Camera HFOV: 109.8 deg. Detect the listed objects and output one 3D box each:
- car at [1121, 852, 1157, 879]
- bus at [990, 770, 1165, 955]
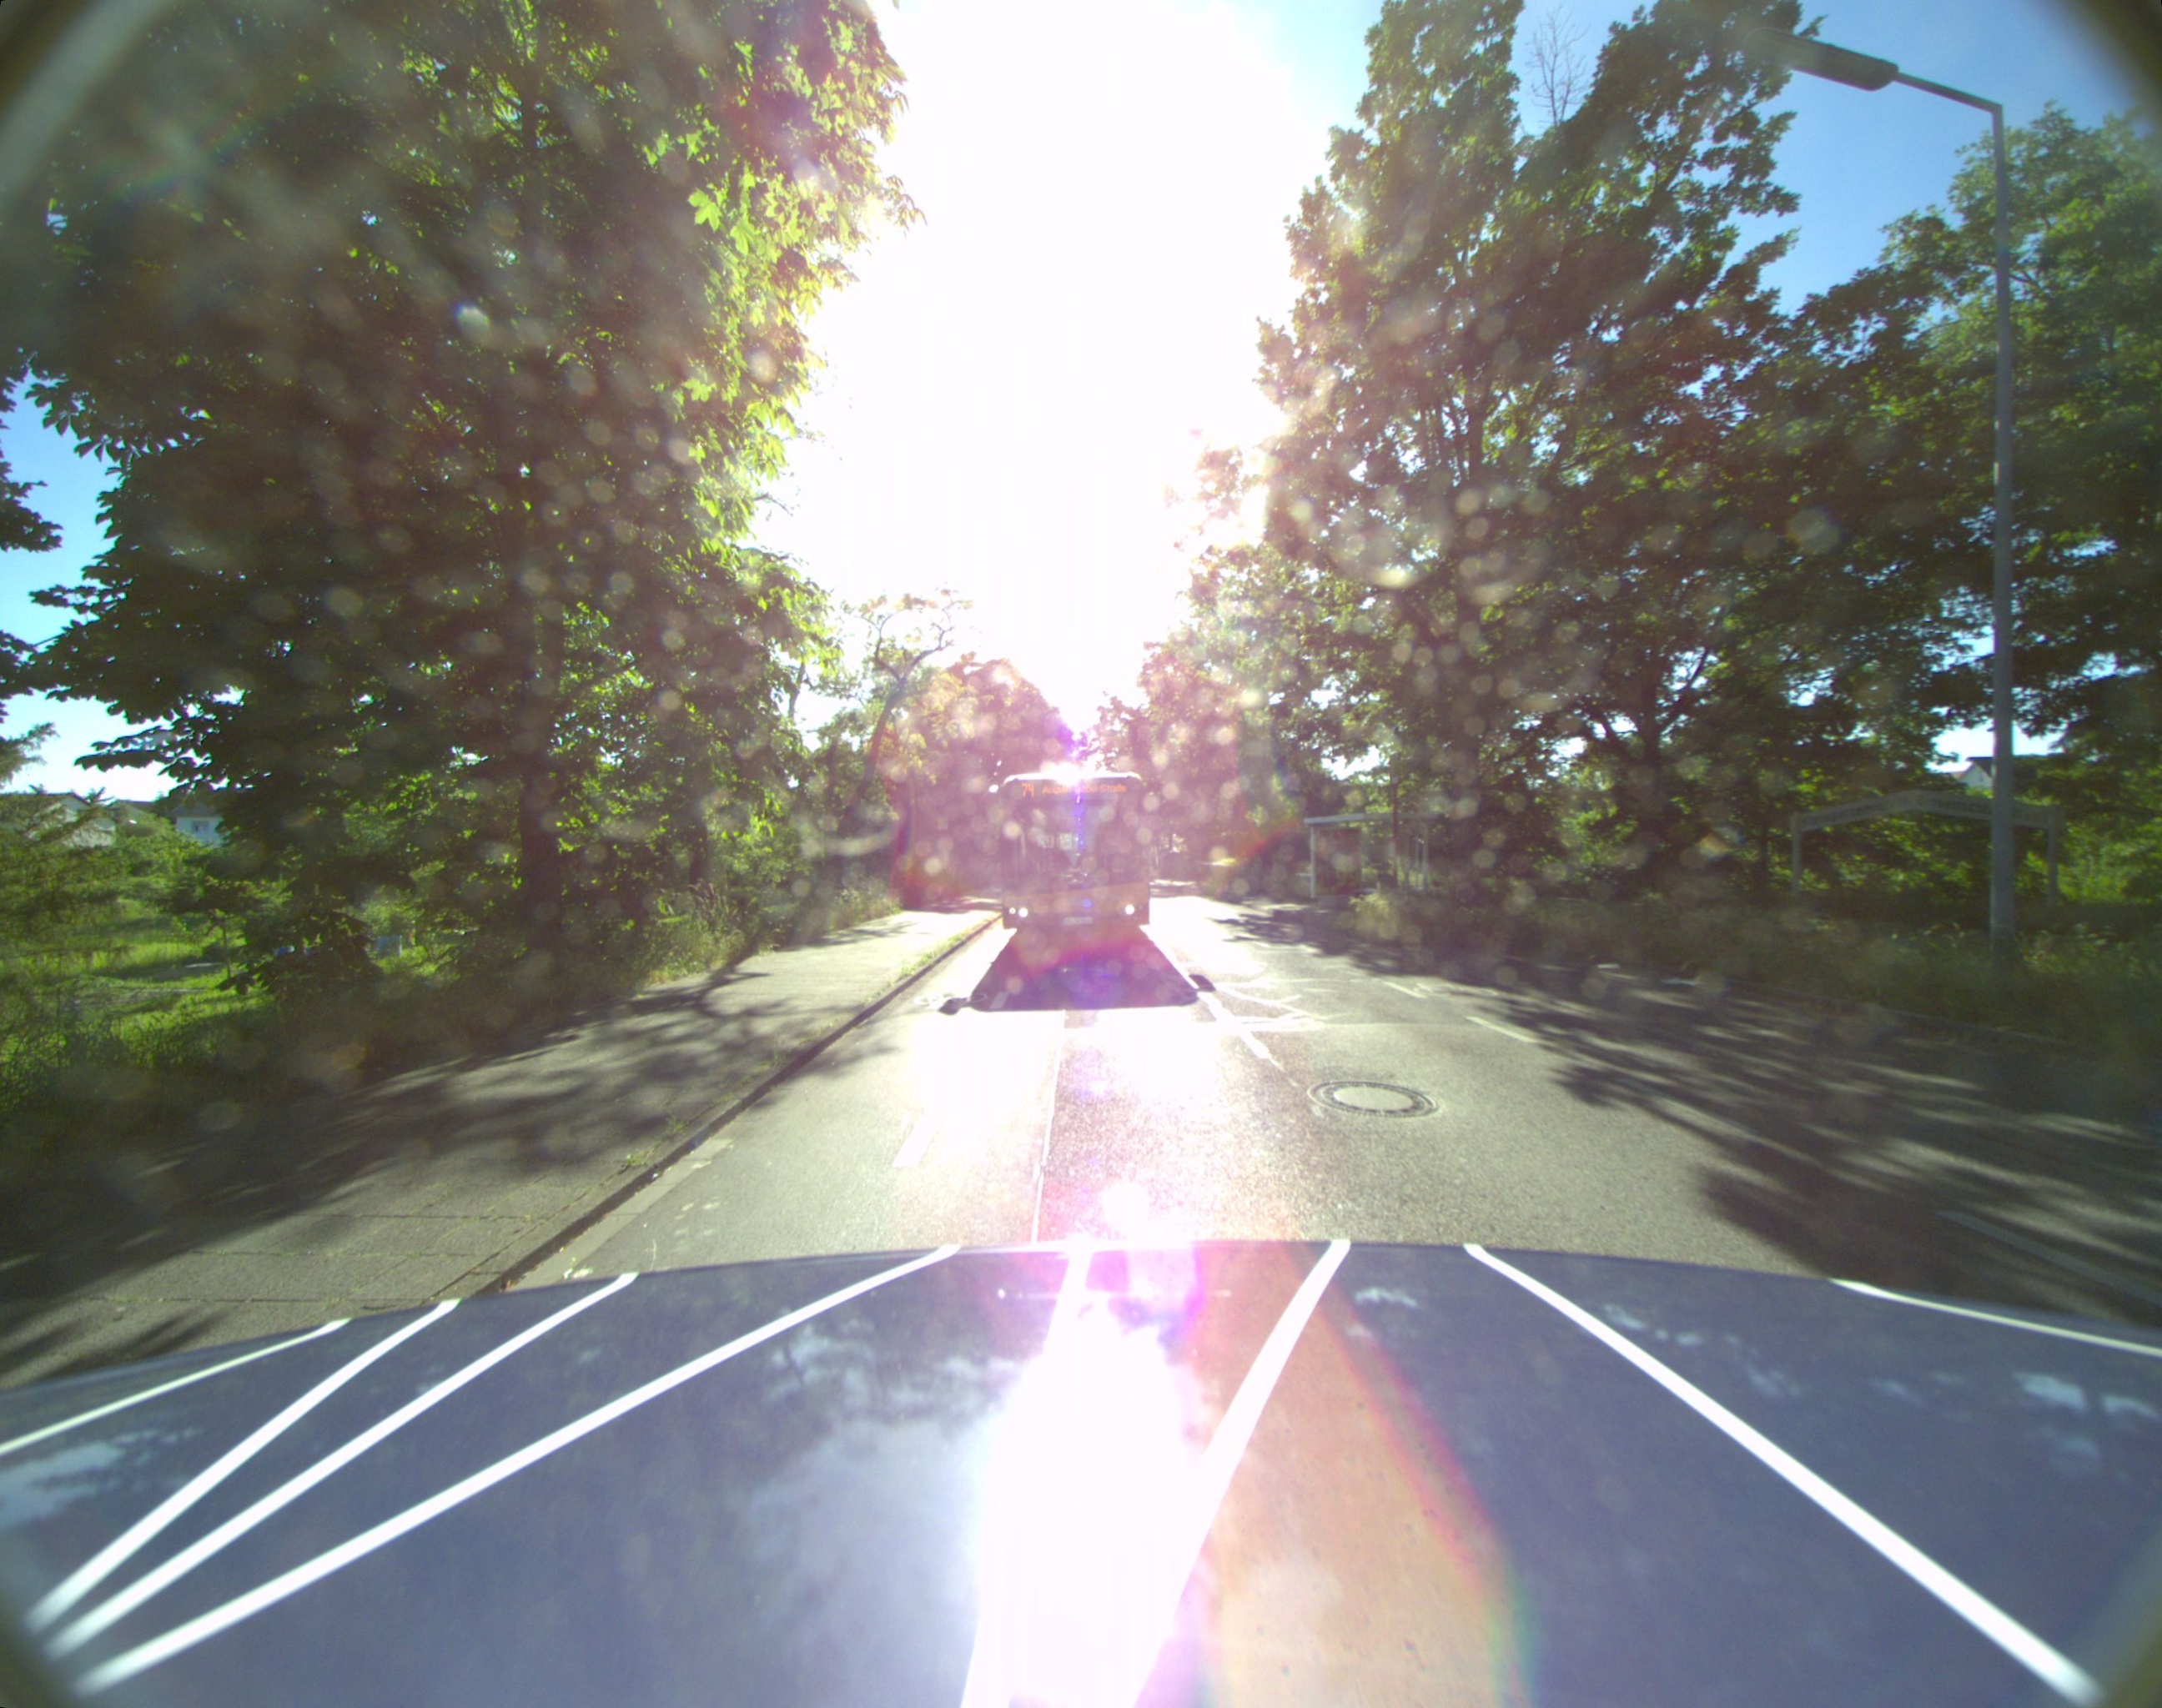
[{"bbox_3d":[3.430,0.639,45.594,1.756,1.554,4.119,0,0,-1],"label":"car"},{"bbox_3d":[-0.124,0.139,19.053,2.790,2.965,12.893,-2,0,-1],"label":"bus"}]
